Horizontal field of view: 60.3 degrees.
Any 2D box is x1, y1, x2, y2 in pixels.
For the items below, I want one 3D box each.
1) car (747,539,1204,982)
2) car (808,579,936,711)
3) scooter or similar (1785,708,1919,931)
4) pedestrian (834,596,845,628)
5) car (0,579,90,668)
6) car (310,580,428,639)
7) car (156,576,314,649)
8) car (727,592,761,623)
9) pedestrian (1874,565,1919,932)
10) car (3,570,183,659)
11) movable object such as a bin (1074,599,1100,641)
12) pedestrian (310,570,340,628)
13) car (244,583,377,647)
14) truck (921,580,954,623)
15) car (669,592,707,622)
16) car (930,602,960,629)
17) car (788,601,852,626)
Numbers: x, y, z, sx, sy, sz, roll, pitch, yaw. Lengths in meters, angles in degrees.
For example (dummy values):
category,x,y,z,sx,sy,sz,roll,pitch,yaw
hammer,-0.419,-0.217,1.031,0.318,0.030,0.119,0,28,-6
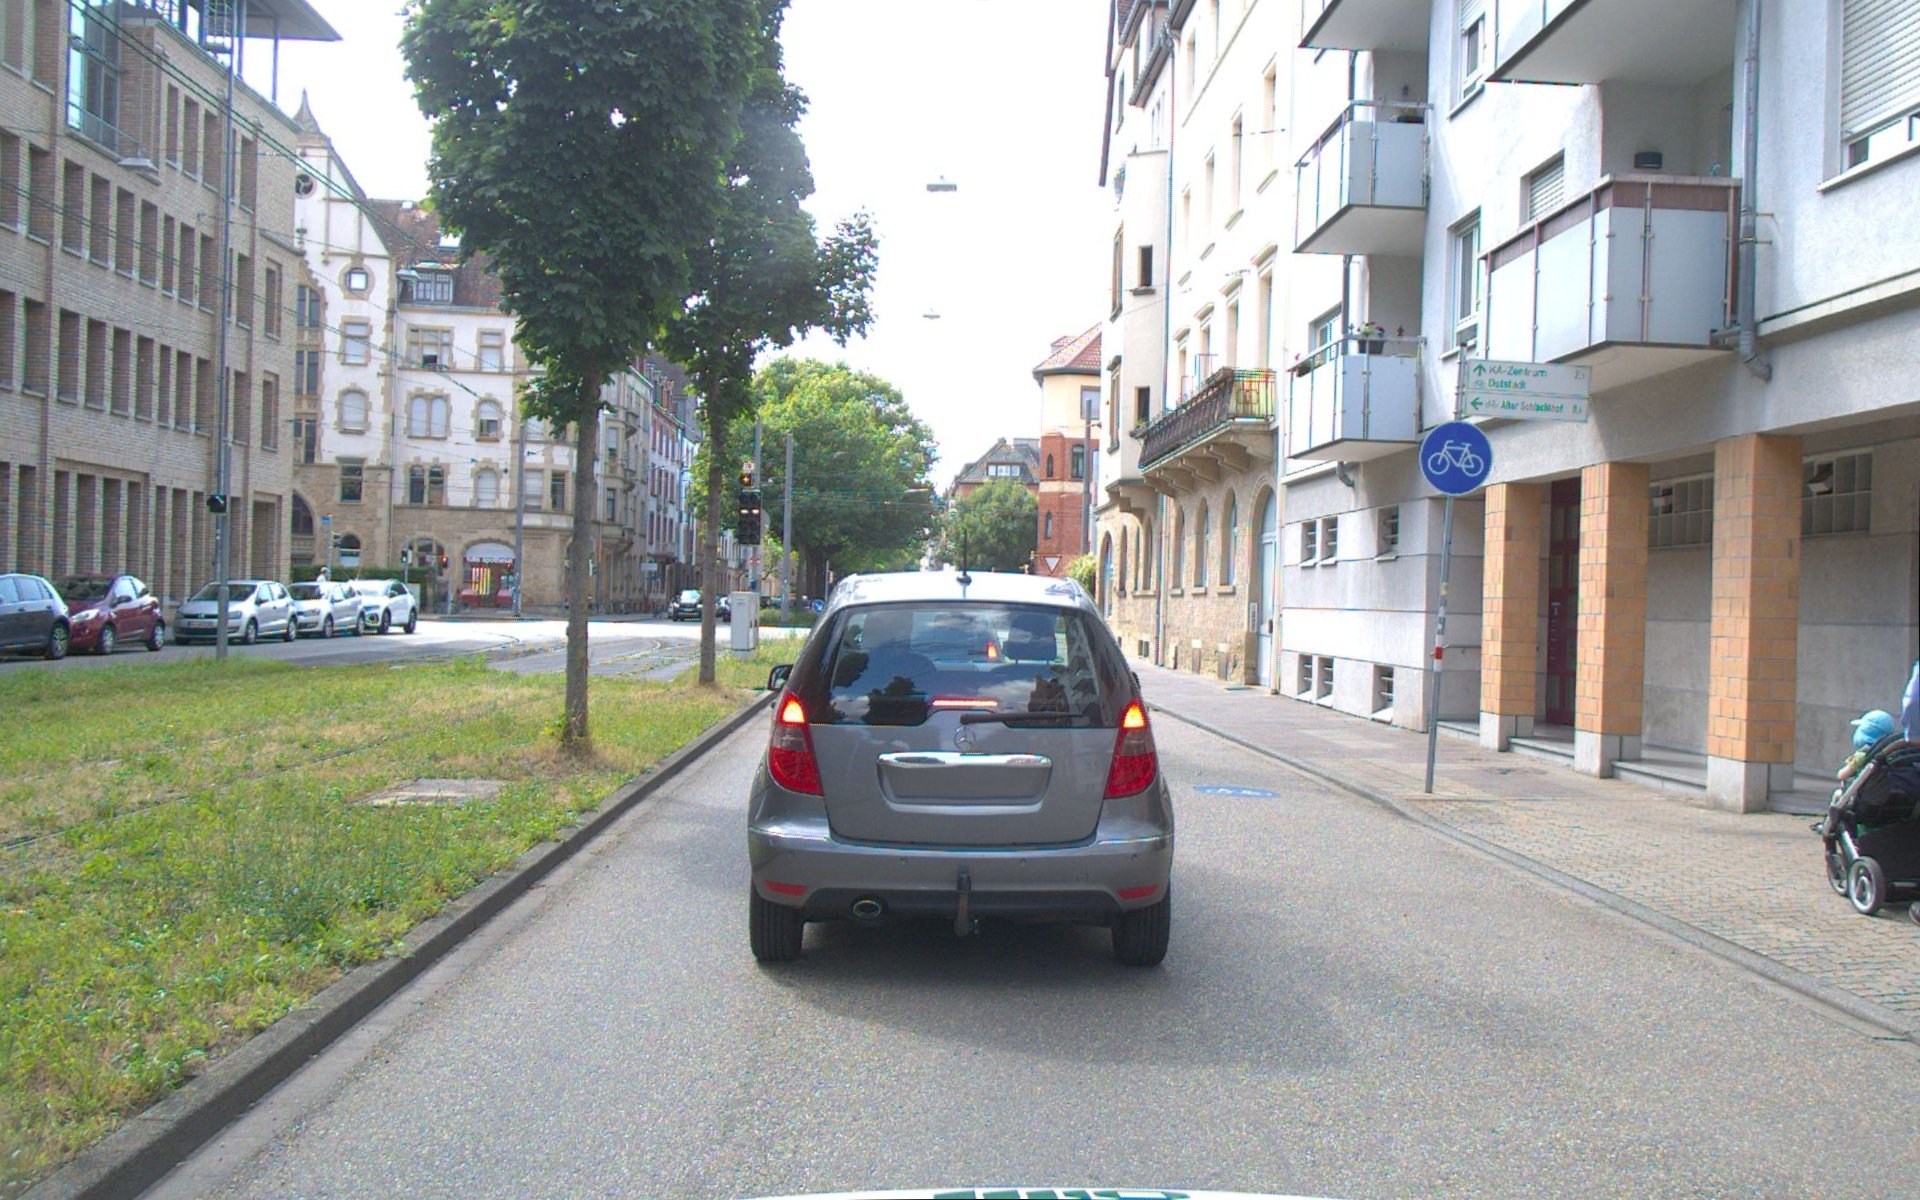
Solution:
category,x,y,z,sx,sy,sz,roll,pitch,yaw
car,0.033,0.610,8.021,1.687,1.634,3.676,1,0,-1
car,-1.203,0.614,23.946,1.687,1.736,3.676,1,0,-1
scooter or similar,4.859,1.118,8.653,0.580,1.019,0.905,-2,0,-1
pedestrian,-6.717,0.667,91.946,0.484,1.755,0.652,2,0,-14
car,-16.243,0.353,26.942,1.894,1.420,4.238,2,0,-1
car,-17.079,0.266,47.972,1.894,1.562,4.257,2,0,-1
car,-16.657,0.276,38.228,1.813,1.557,4.209,2,0,-1
car,-12.824,0.451,98.251,1.956,1.758,3.994,1,0,-7
pedestrian,4.910,0.708,7.834,0.608,1.769,0.877,-2,0,-1
car,-16.455,0.260,31.570,1.550,1.557,3.549,2,0,-1
movable object such as a bin,4.662,0.737,60.796,0.701,1.497,0.980,1,0,-10
pedestrian,-20.360,-0.039,53.024,0.751,1.827,0.952,2,-1,-27
car,-16.965,0.372,43.391,1.894,1.557,4.013,2,0,-1
truck,-1.574,0.116,118.139,2.079,3.022,4.001,1,0,2
car,-15.875,0.410,96.661,1.956,1.646,3.994,1,0,-7
car,-0.935,0.962,105.191,1.716,1.661,3.500,2,0,2
car,-8.449,0.807,99.671,1.957,1.362,3.941,2,0,-41
